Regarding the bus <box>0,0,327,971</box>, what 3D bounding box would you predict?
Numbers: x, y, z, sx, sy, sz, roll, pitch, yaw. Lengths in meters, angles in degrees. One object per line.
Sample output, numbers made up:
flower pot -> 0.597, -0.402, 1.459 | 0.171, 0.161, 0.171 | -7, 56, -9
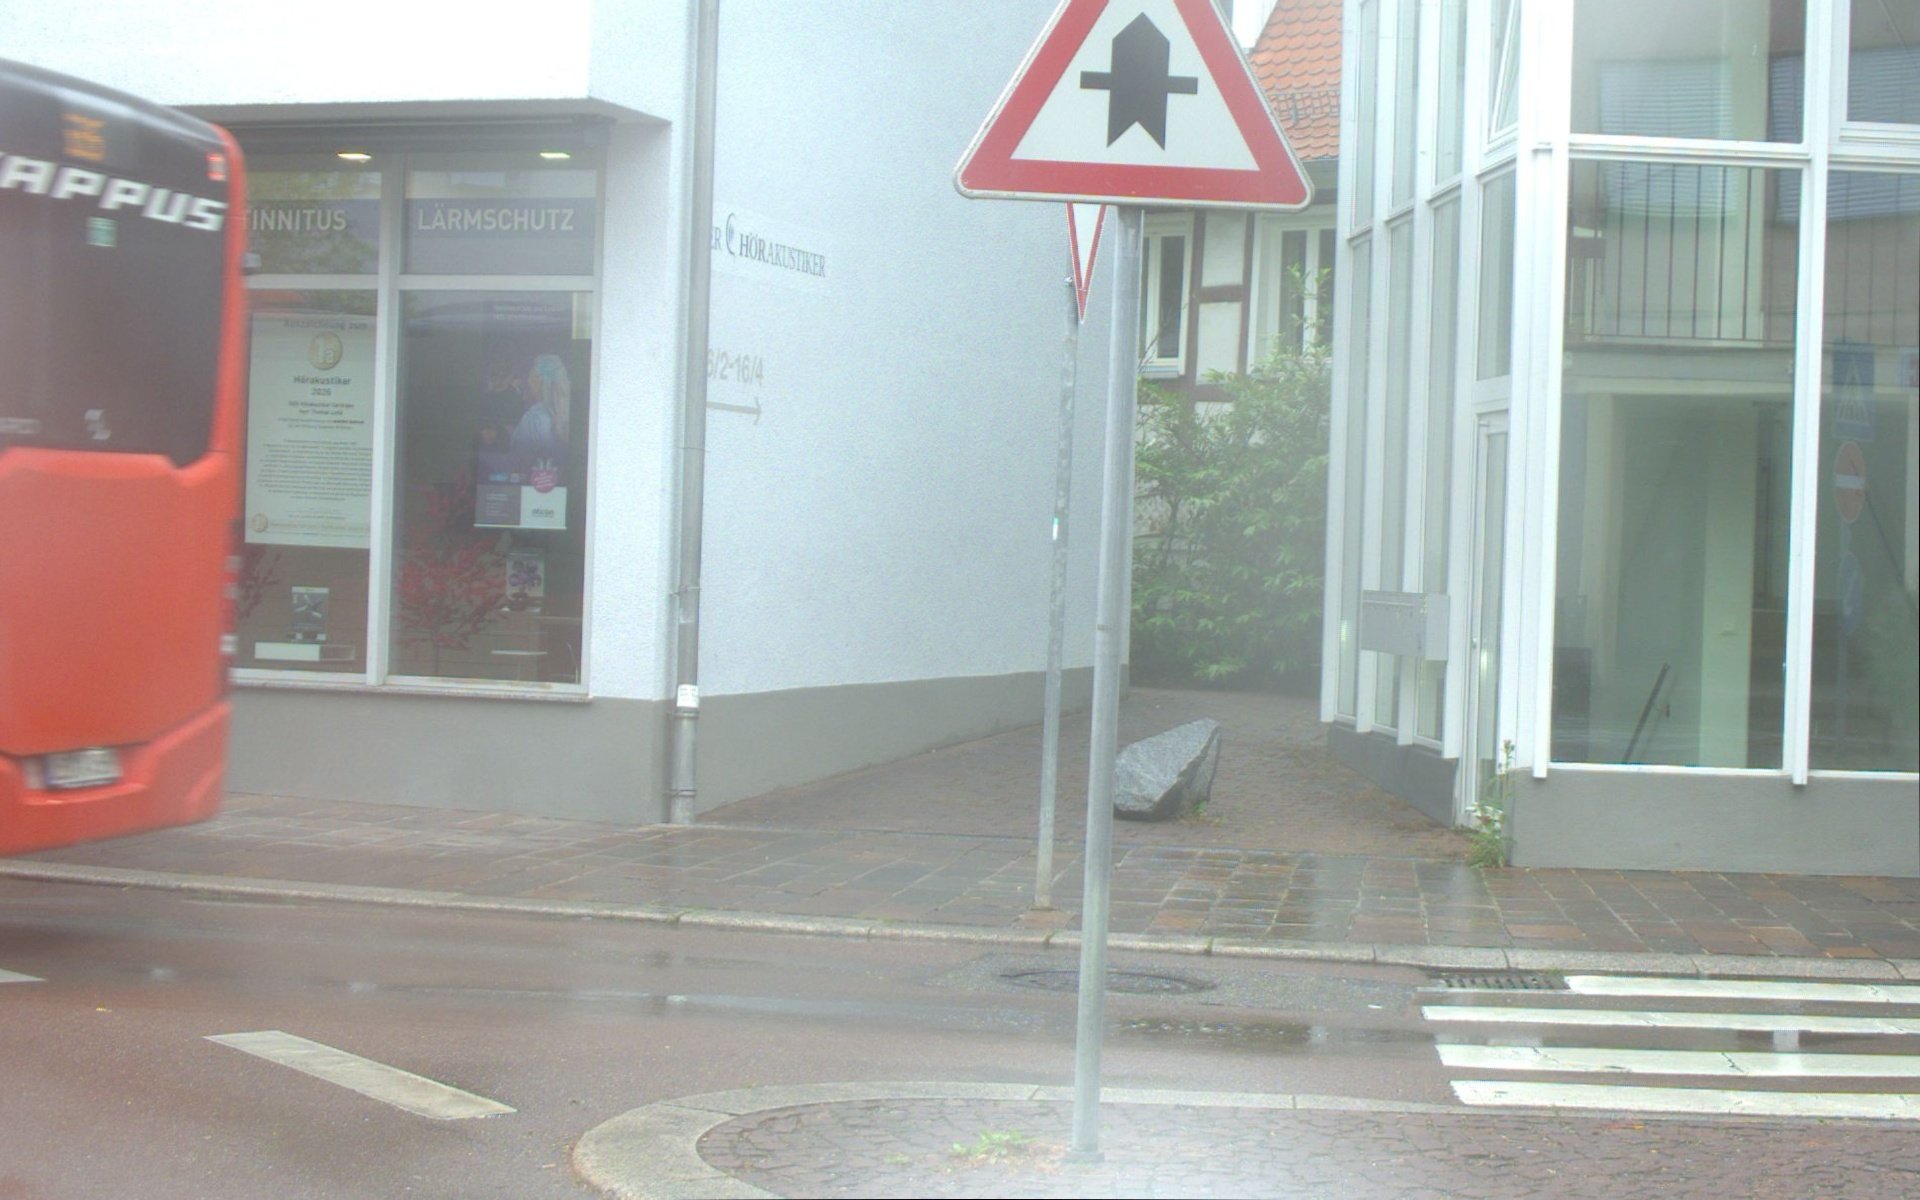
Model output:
bus -> -7.923, -0.542, 12.958 | 10.580, 3.078, 2.820 | 2, 0, 14
